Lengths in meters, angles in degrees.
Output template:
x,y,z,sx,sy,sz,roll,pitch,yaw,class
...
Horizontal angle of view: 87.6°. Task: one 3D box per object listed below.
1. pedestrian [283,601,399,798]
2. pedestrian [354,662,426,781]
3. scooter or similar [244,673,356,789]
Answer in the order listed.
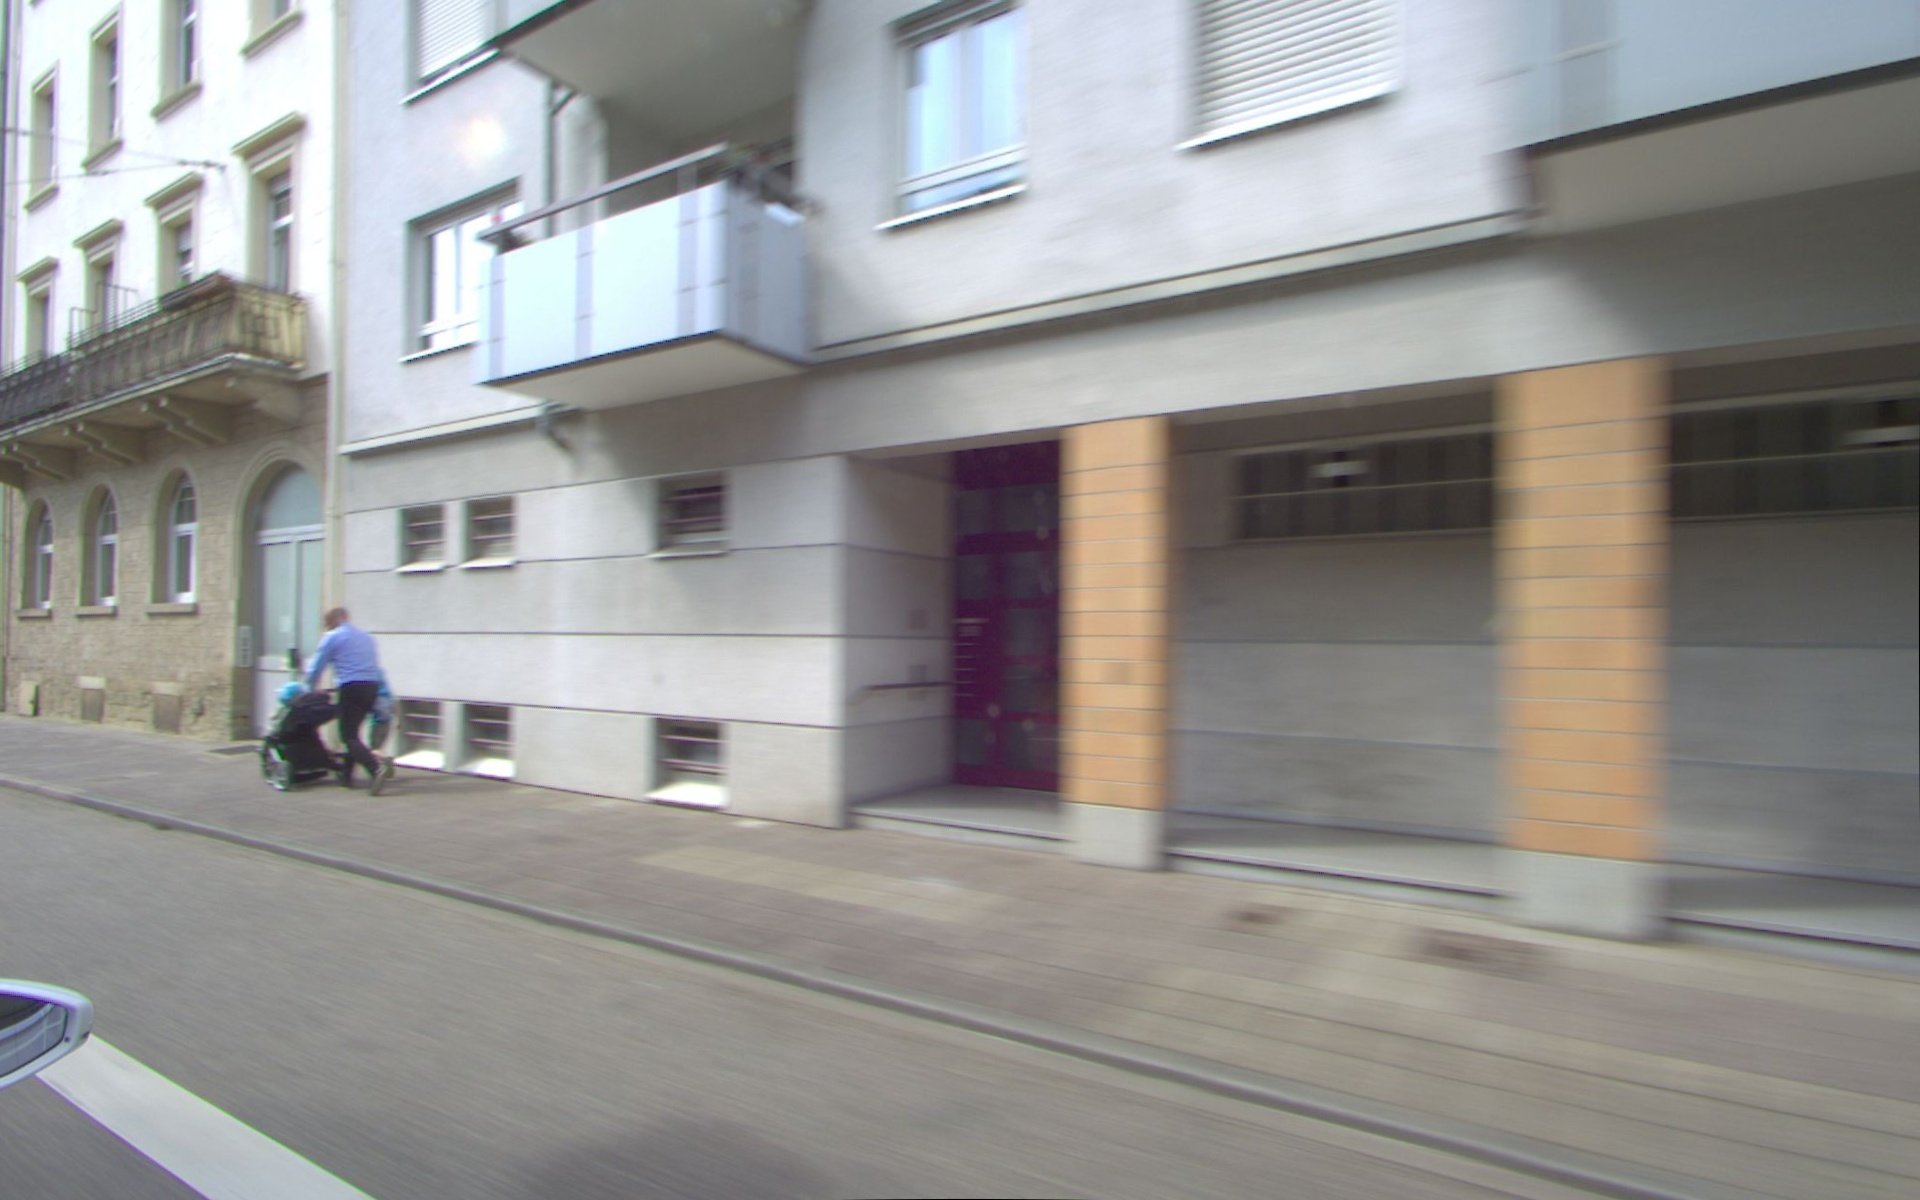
x,y,z,sx,sy,sz,roll,pitch,yaw,class
-5.852,0.897,9.468,0.865,1.762,0.619,0,1,34,pedestrian
-5.792,1.212,10.175,0.487,1.149,0.455,0,-2,34,pedestrian
-6.515,1.267,9.879,0.893,1.016,0.590,0,2,34,scooter or similar
